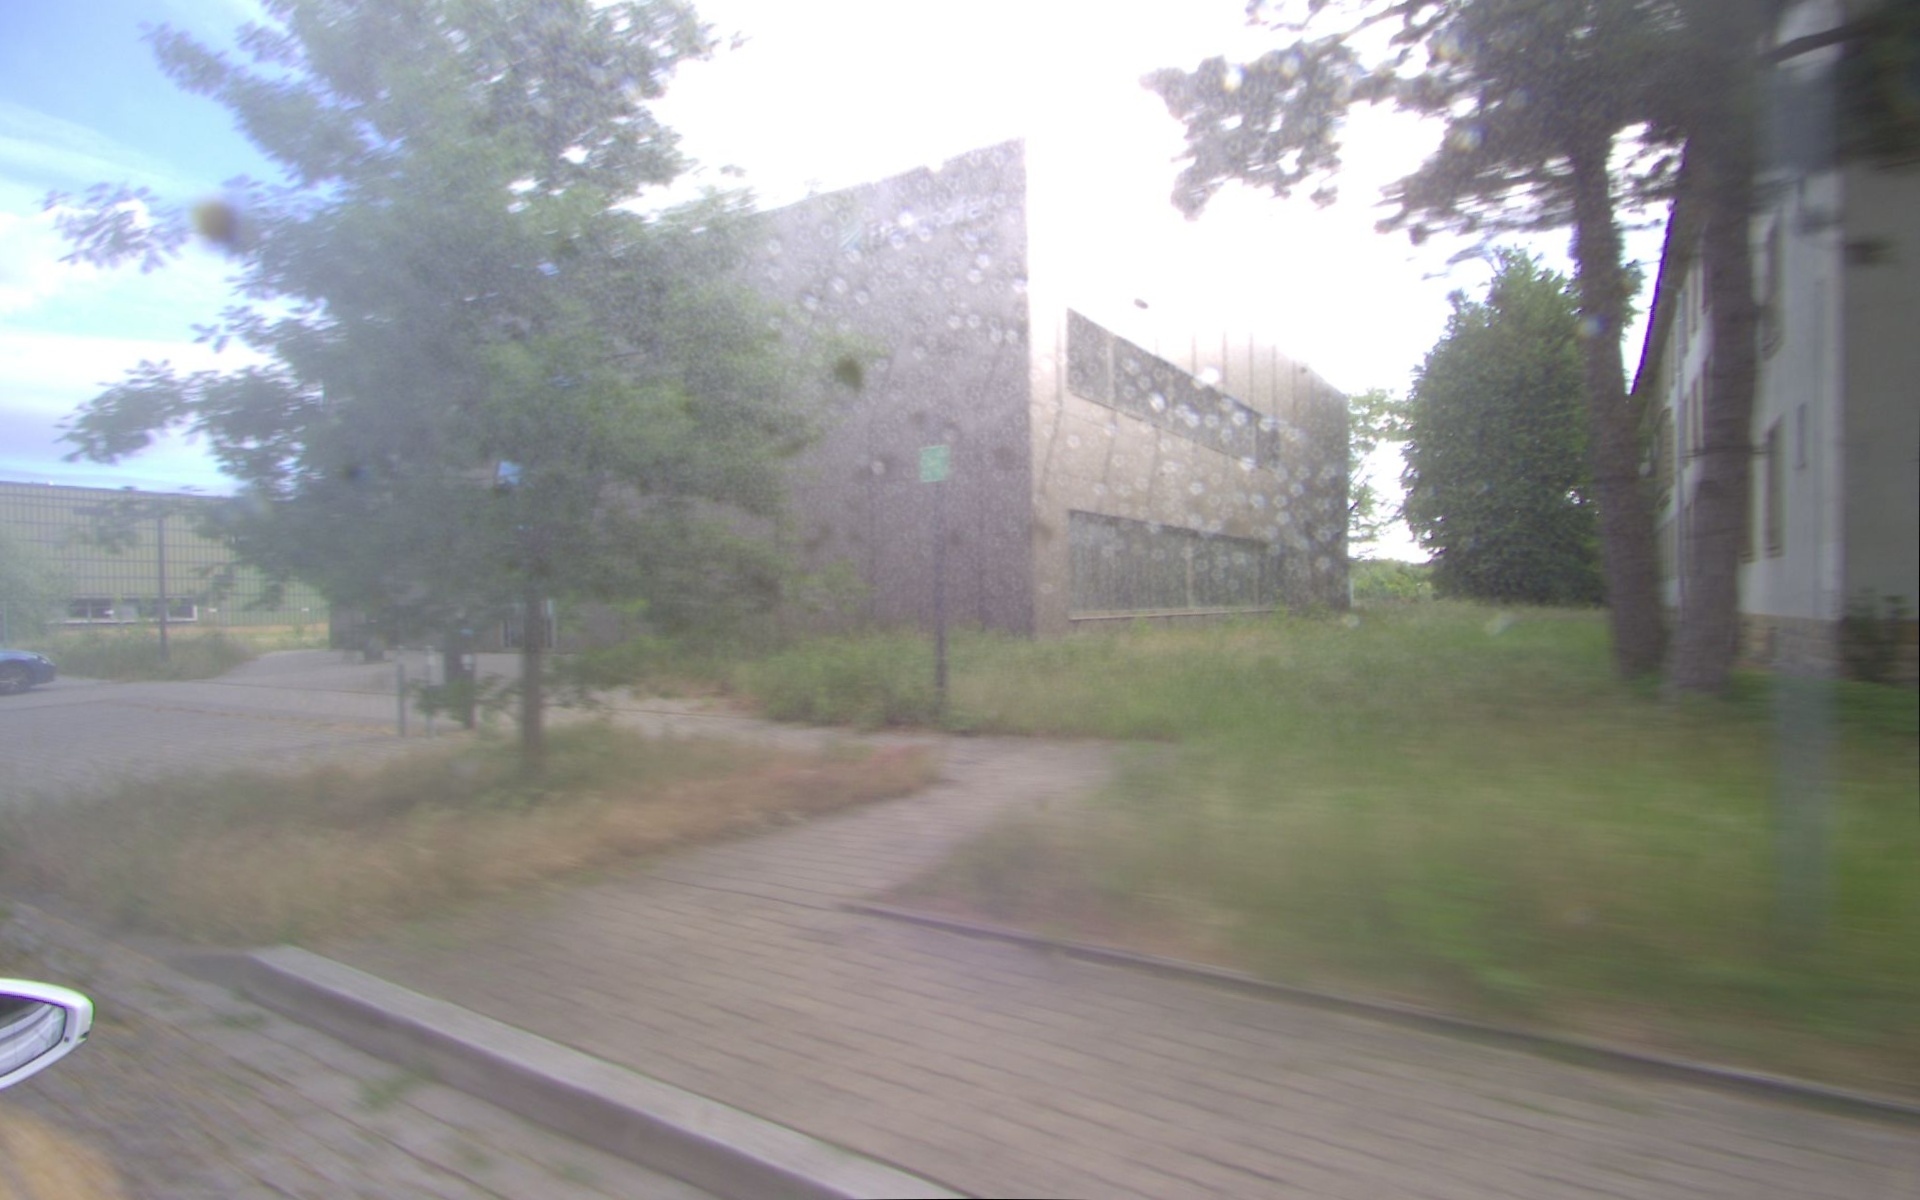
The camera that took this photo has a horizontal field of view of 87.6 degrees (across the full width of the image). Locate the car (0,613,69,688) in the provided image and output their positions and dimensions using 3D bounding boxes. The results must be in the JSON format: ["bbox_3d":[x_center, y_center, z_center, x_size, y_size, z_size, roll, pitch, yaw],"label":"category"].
[{"bbox_3d":[-20.594,1.087,19.468,1.796,1.463,4.514,0,2,29],"label":"car"}]
